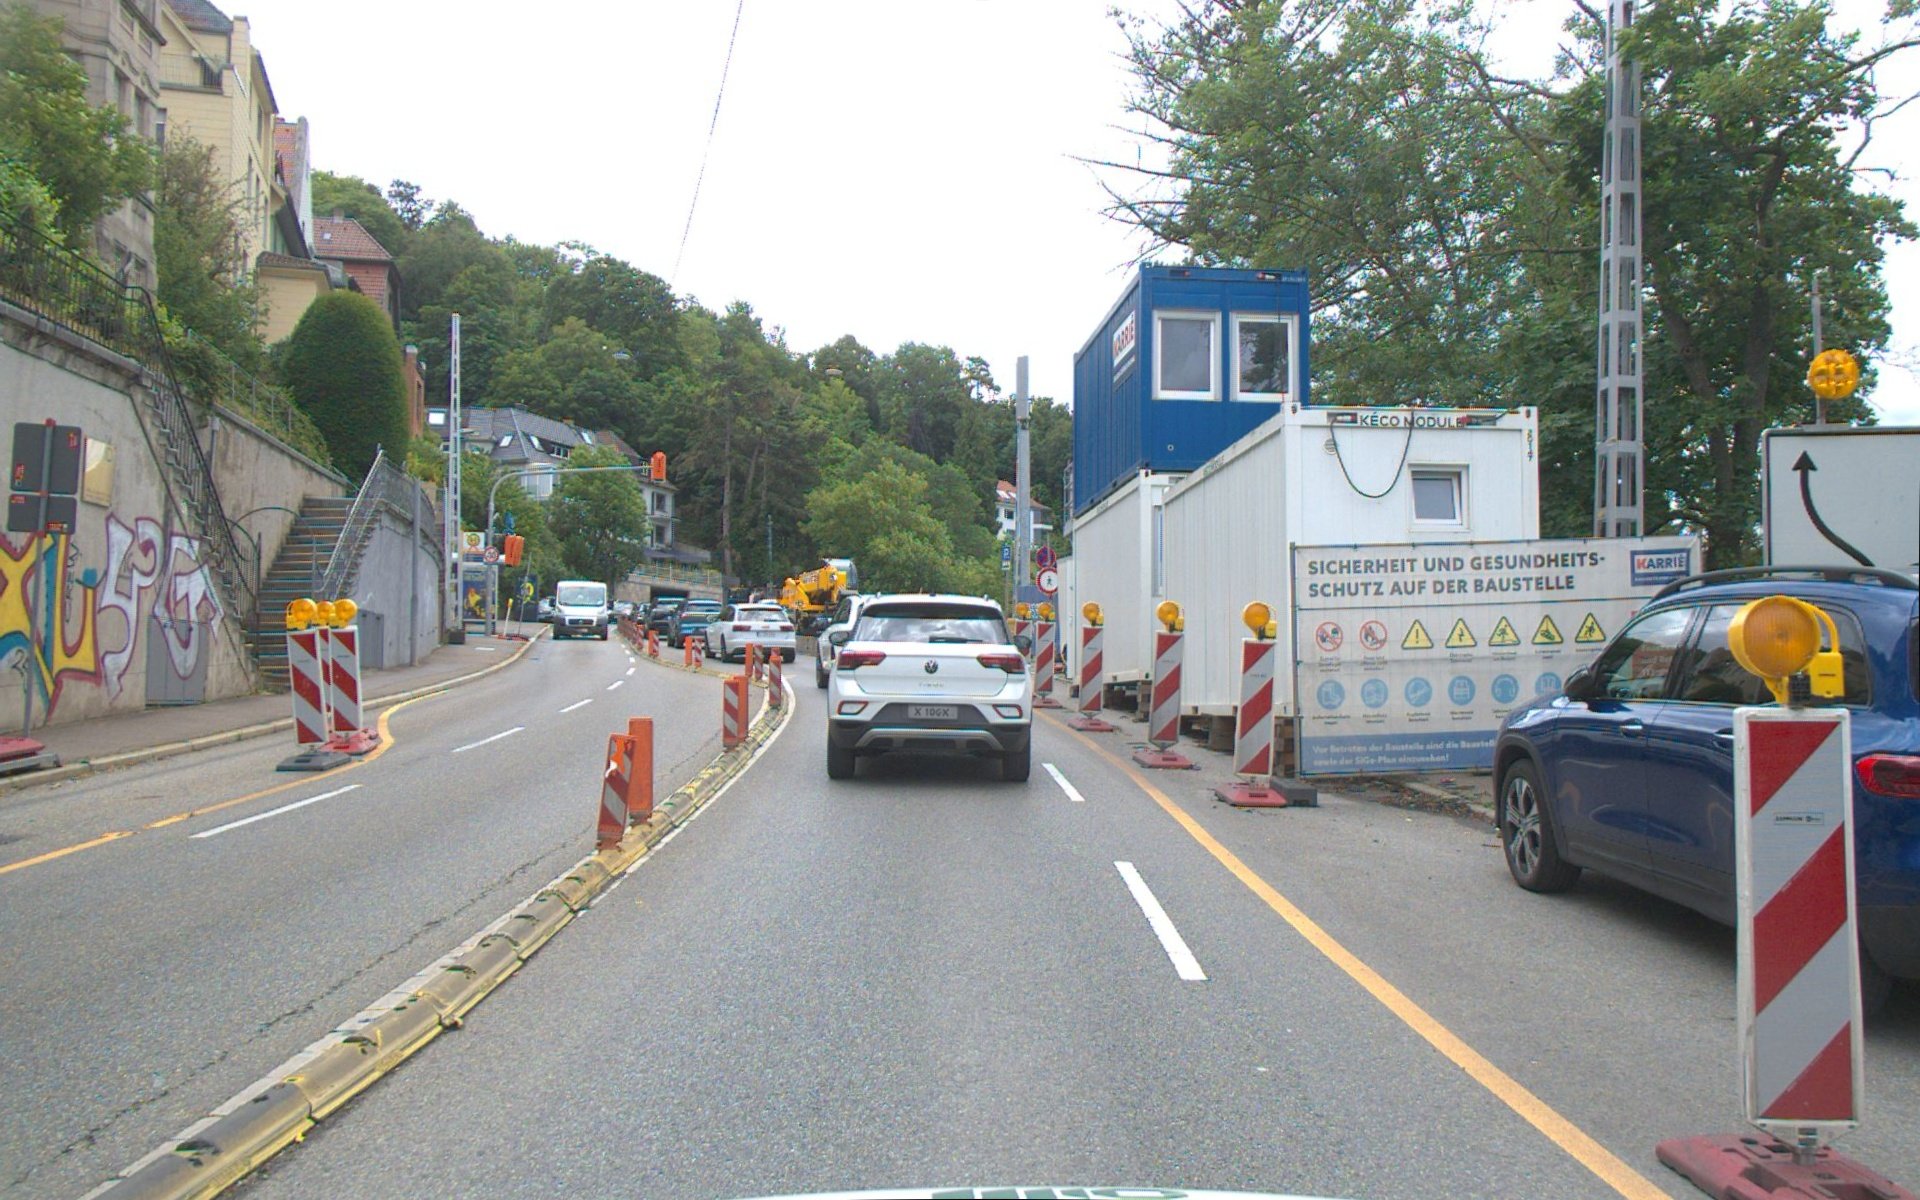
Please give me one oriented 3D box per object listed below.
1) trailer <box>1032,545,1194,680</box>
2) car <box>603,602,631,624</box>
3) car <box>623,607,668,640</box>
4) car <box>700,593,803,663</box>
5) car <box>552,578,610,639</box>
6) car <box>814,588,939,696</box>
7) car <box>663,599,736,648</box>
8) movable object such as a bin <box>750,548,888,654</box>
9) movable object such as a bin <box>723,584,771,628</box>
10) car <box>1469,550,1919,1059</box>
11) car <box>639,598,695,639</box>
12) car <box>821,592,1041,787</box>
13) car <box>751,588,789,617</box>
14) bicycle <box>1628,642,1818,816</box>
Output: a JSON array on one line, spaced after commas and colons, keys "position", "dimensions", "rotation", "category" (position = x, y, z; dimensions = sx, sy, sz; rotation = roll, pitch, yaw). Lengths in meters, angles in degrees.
[{"position": [3.108, 0.239, 34.819], "dimensions": [2.069, 2.594, 5.106], "rotation": [-1, 0, -10], "category": "trailer"}, {"position": [-22.563, 0.850, 108.901], "dimensions": [1.640, 1.455, 3.580], "rotation": [0, 0, -9], "category": "car"}, {"position": [-15.419, 1.131, 80.953], "dimensions": [1.765, 1.537, 3.982], "rotation": [-1, 0, -16], "category": "car"}, {"position": [-5.396, 0.682, 42.460], "dimensions": [1.783, 1.692, 3.976], "rotation": [0, 0, -20], "category": "car"}, {"position": [-14.588, 0.305, 63.894], "dimensions": [2.030, 2.226, 4.948], "rotation": [-1, 0, -12], "category": "car"}, {"position": [-1.485, 0.659, 27.982], "dimensions": [1.776, 1.692, 3.993], "rotation": [0, 0, -8], "category": "car"}, {"position": [-8.500, 0.740, 53.806], "dimensions": [1.766, 1.537, 3.980], "rotation": [0, 0, -18], "category": "car"}, {"position": [-4.754, 0.031, 54.159], "dimensions": [2.768, 3.124, 7.783], "rotation": [2, 0, -18], "category": "movable object such as a bin"}, {"position": [-13.699, 0.381, 106.591], "dimensions": [2.165, 2.709, 4.946], "rotation": [1, 0, 3], "category": "movable object such as a bin"}, {"position": [3.983, 0.644, 7.526], "dimensions": [1.802, 1.671, 4.501], "rotation": [-3, 0, -1], "category": "car"}, {"position": [-11.642, 0.710, 65.657], "dimensions": [1.765, 1.537, 3.982], "rotation": [-1, 0, -16], "category": "car"}, {"position": [-0.223, 0.723, 15.288], "dimensions": [1.772, 1.558, 4.000], "rotation": [0, 0, 0], "category": "car"}, {"position": [-10.318, 0.154, 89.606], "dimensions": [1.762, 1.537, 3.990], "rotation": [1, -1, -10], "category": "car"}, {"position": [5.586, 0.907, 12.220], "dimensions": [0.488, 1.127, 1.799], "rotation": [-2, 0, -2], "category": "bicycle"}]
